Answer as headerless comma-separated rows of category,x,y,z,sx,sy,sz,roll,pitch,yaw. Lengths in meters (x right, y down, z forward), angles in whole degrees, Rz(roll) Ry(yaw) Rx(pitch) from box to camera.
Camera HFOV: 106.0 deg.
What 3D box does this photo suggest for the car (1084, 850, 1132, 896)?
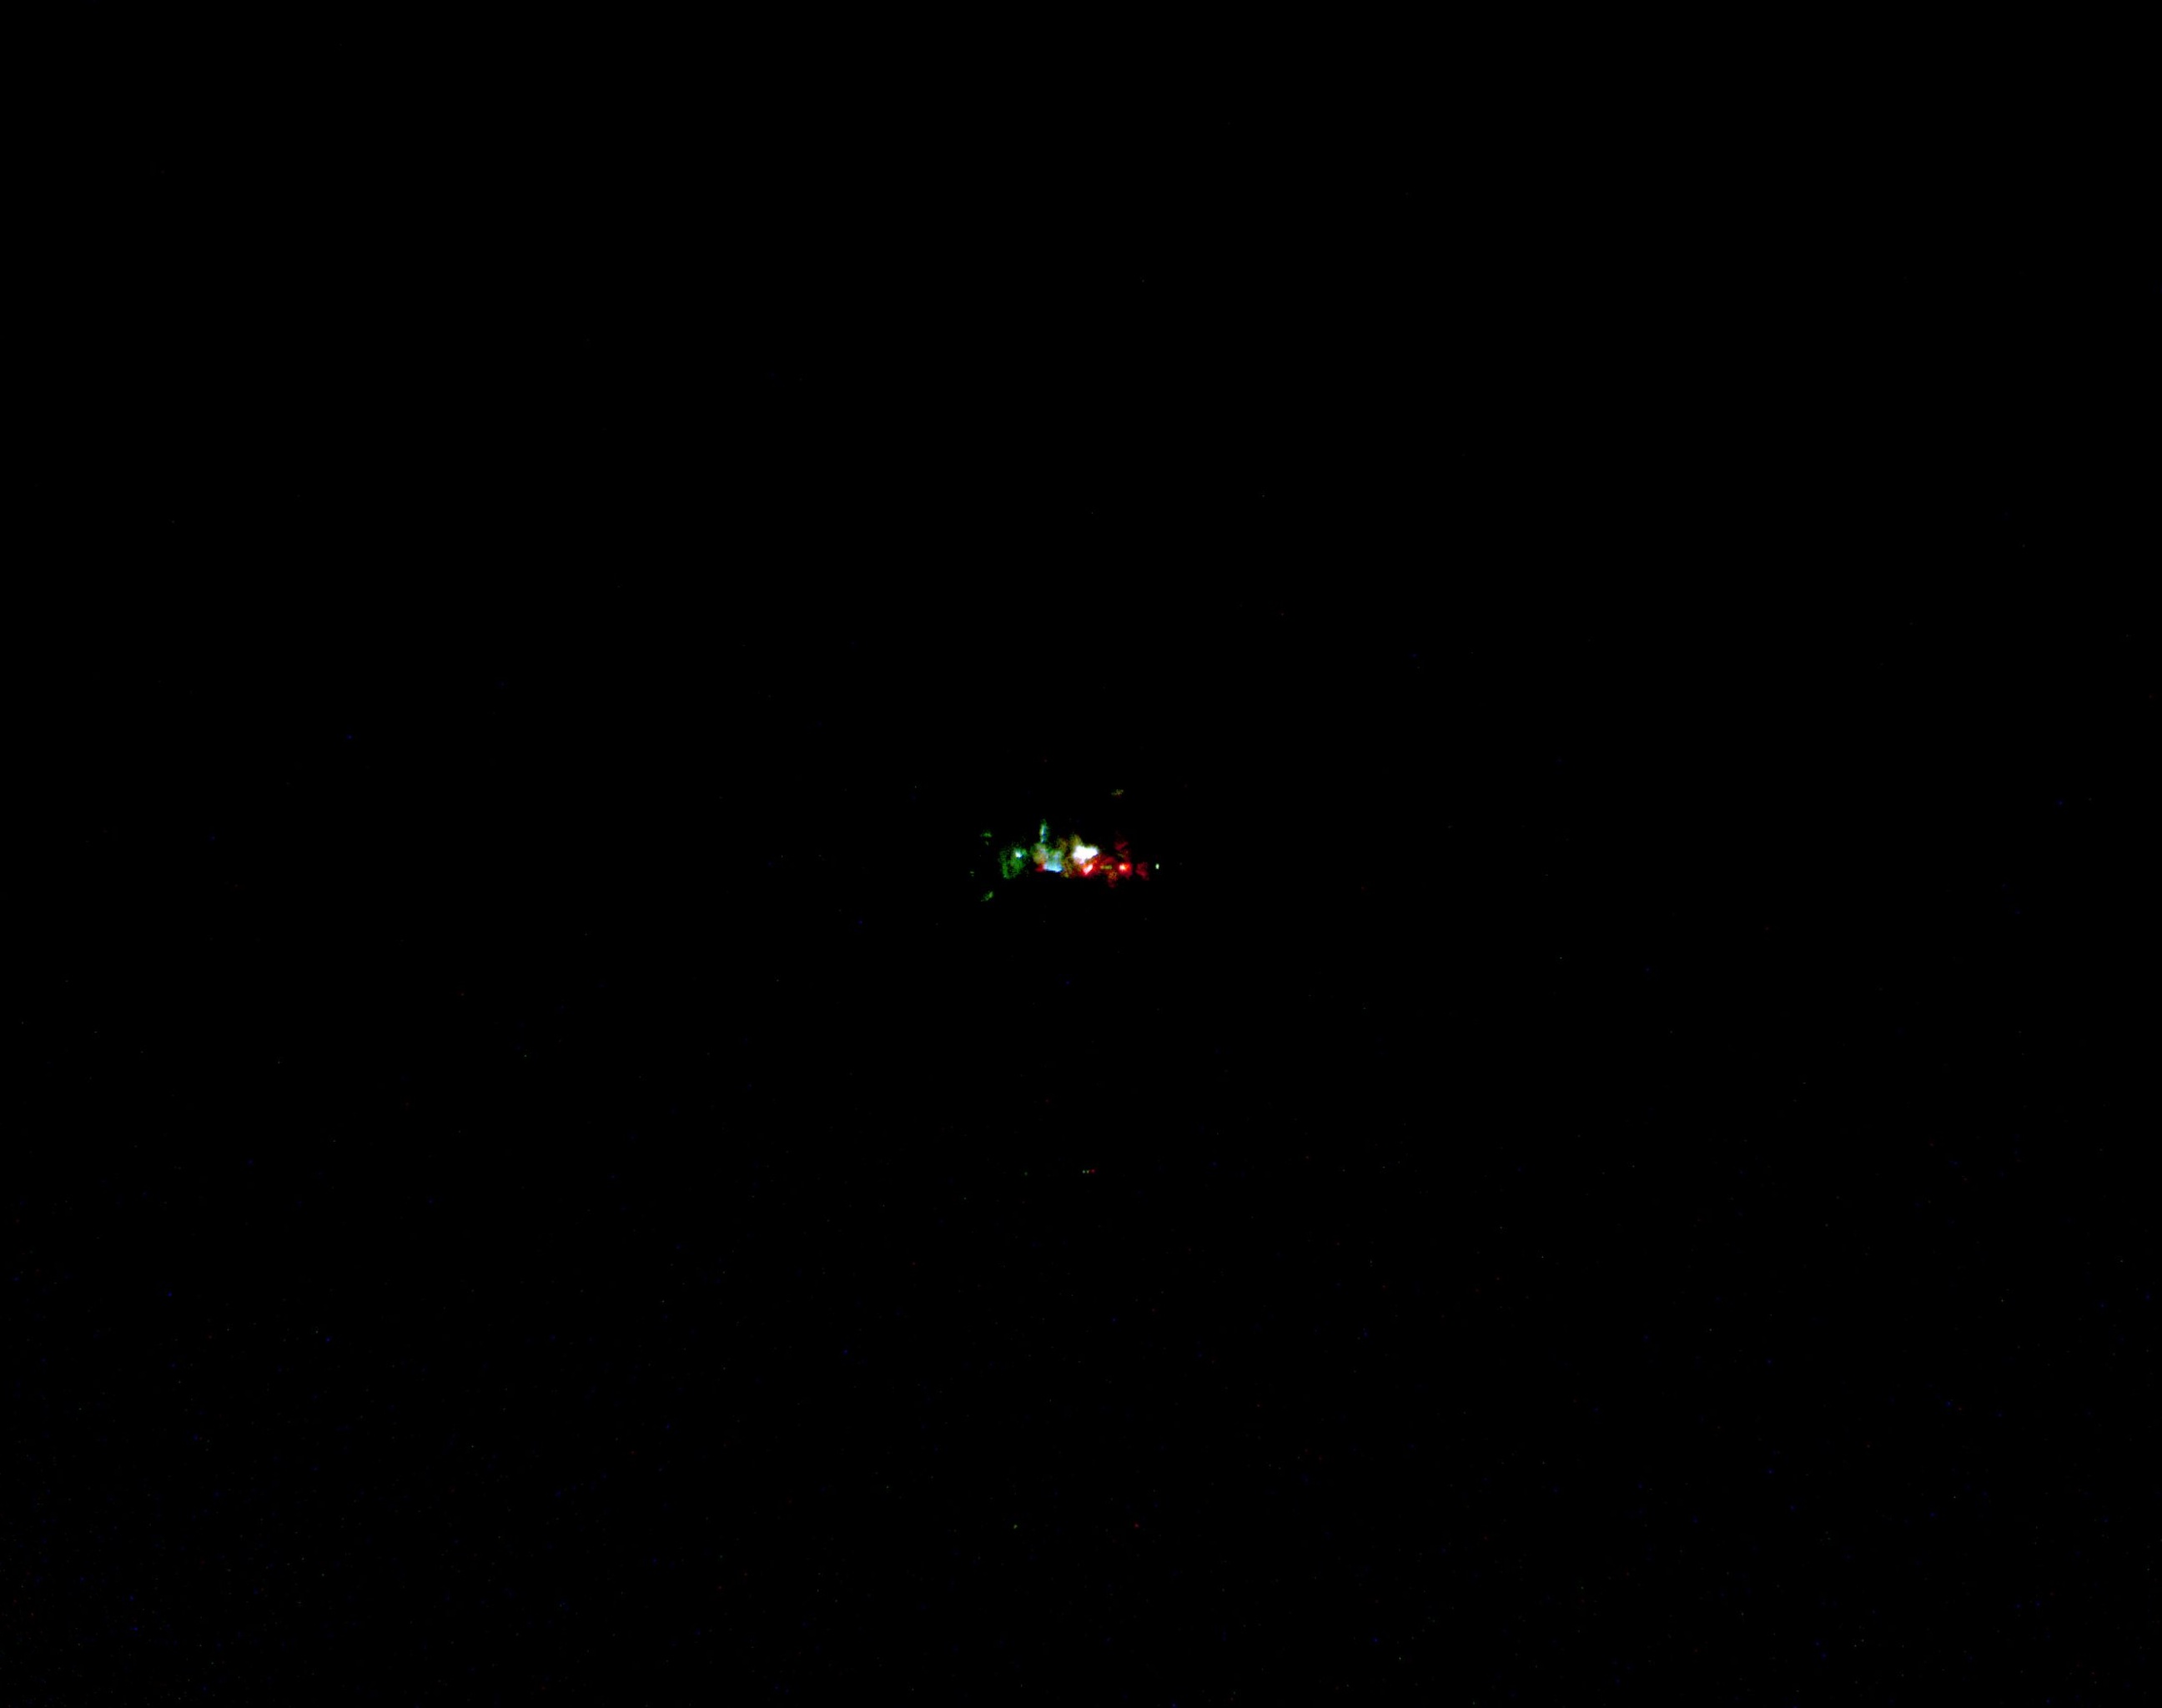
car,1.191,0.844,38.092,1.987,1.806,3.917,-4,2,-1
